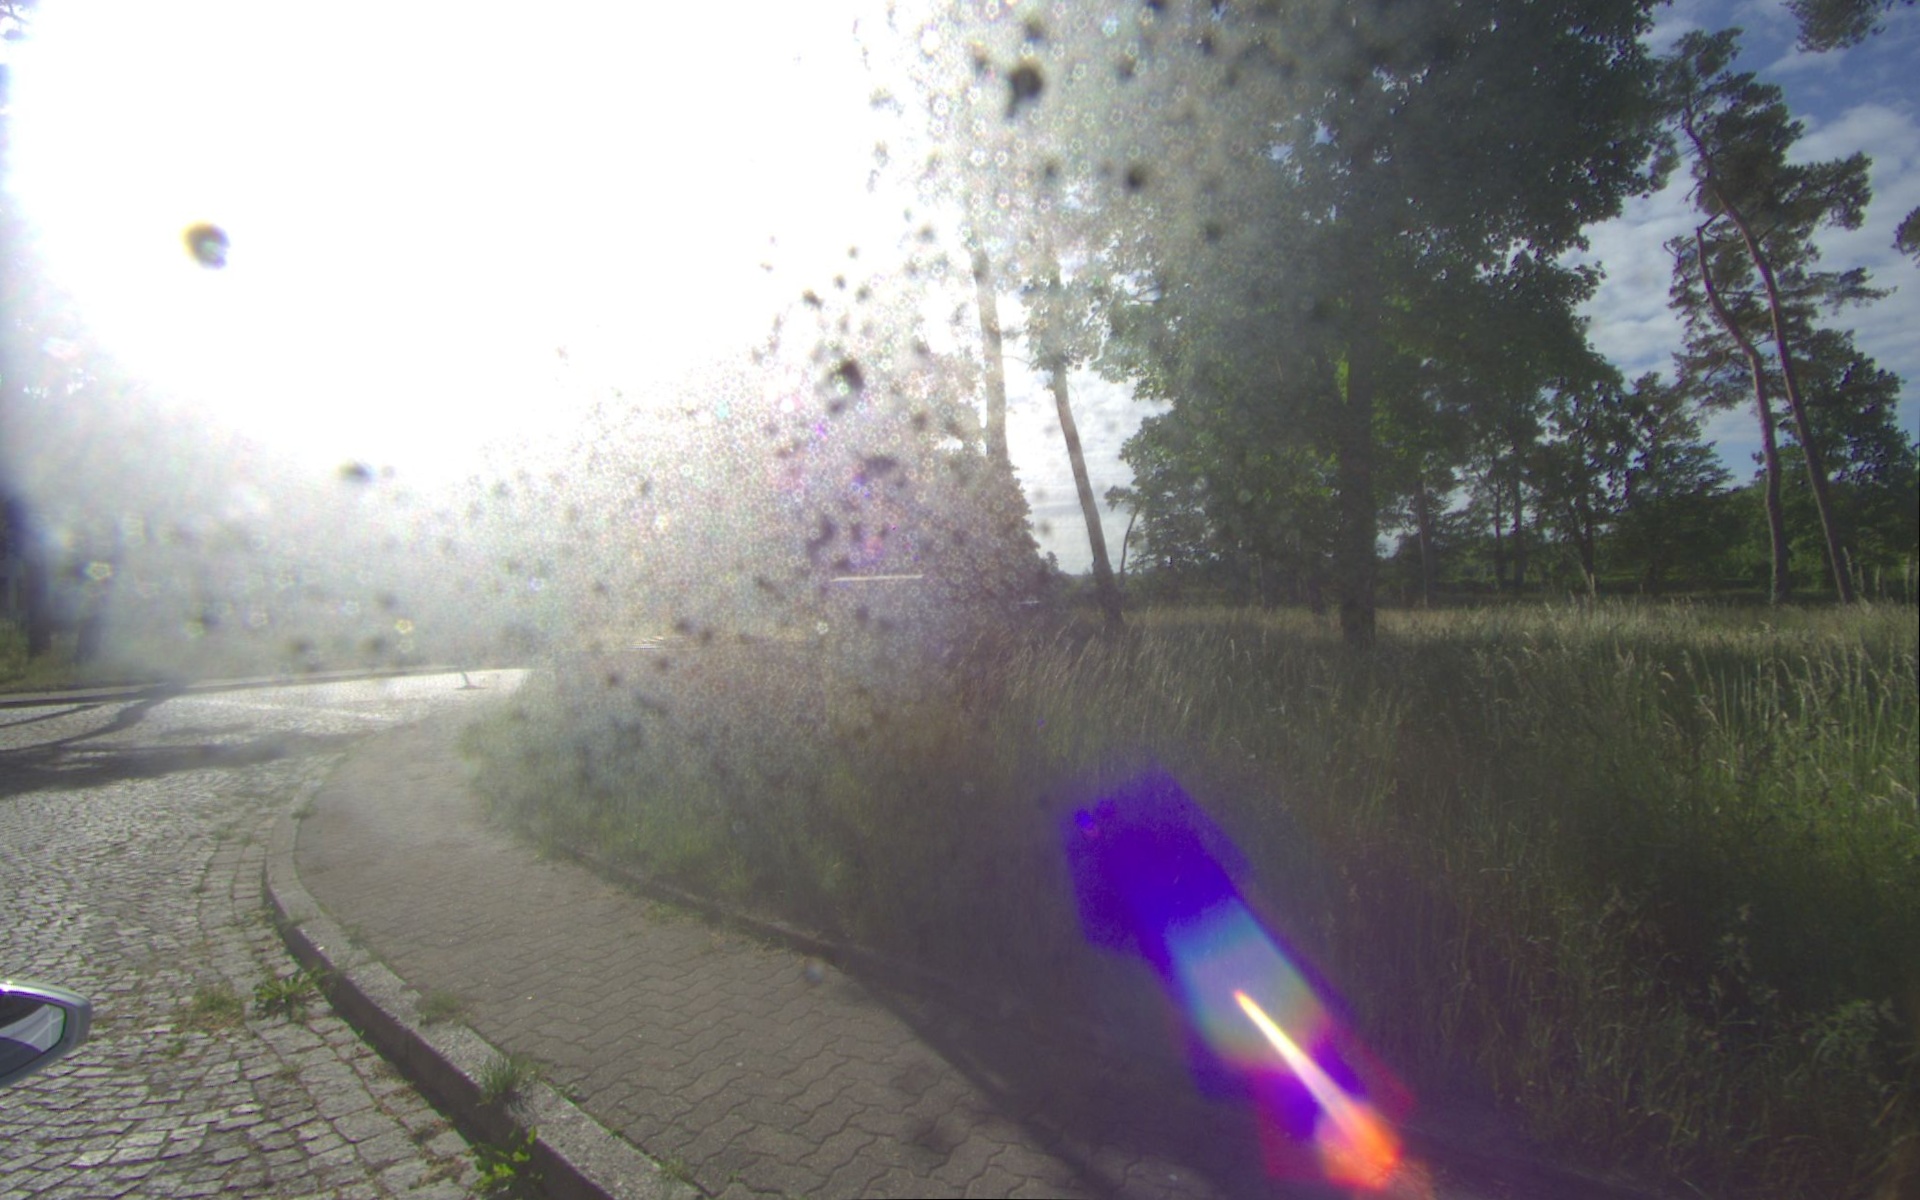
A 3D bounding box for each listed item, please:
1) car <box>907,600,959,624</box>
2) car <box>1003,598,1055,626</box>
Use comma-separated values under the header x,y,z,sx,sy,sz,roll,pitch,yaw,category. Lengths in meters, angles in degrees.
x,y,z,sx,sy,sz,roll,pitch,yaw,category
-1.729,0.768,65.767,1.817,1.483,3.986,-1,0,26,car
4.247,0.703,61.338,1.826,1.620,3.986,-1,0,26,car
